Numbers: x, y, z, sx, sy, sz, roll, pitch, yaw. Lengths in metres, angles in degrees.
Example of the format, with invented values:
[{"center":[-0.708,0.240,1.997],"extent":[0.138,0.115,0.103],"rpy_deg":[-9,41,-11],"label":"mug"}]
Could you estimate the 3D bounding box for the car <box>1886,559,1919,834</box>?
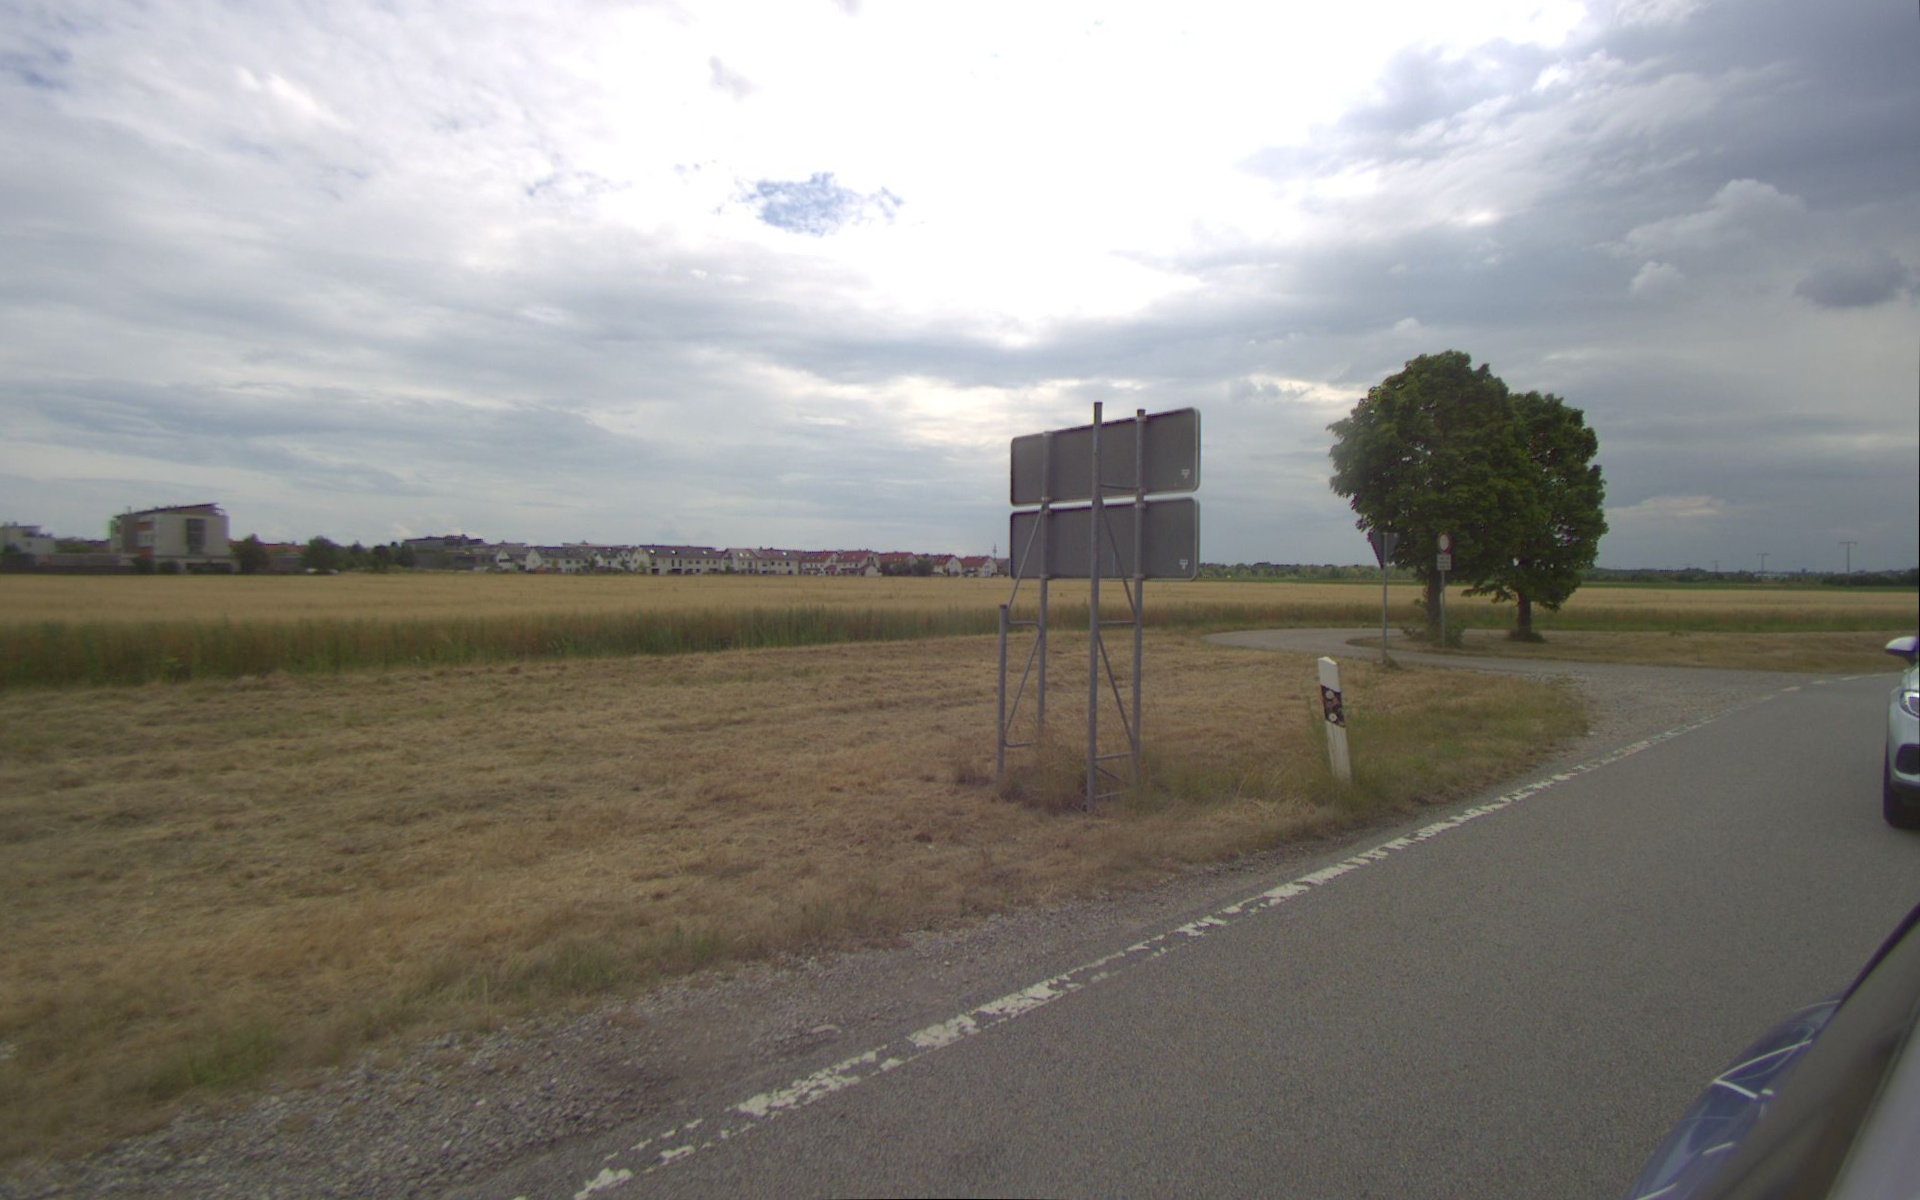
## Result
[{"center":[7.758,0.598,6.848],"extent":[4.375,1.606,1.834],"rpy_deg":[0,2,-43],"label":"car"}]
